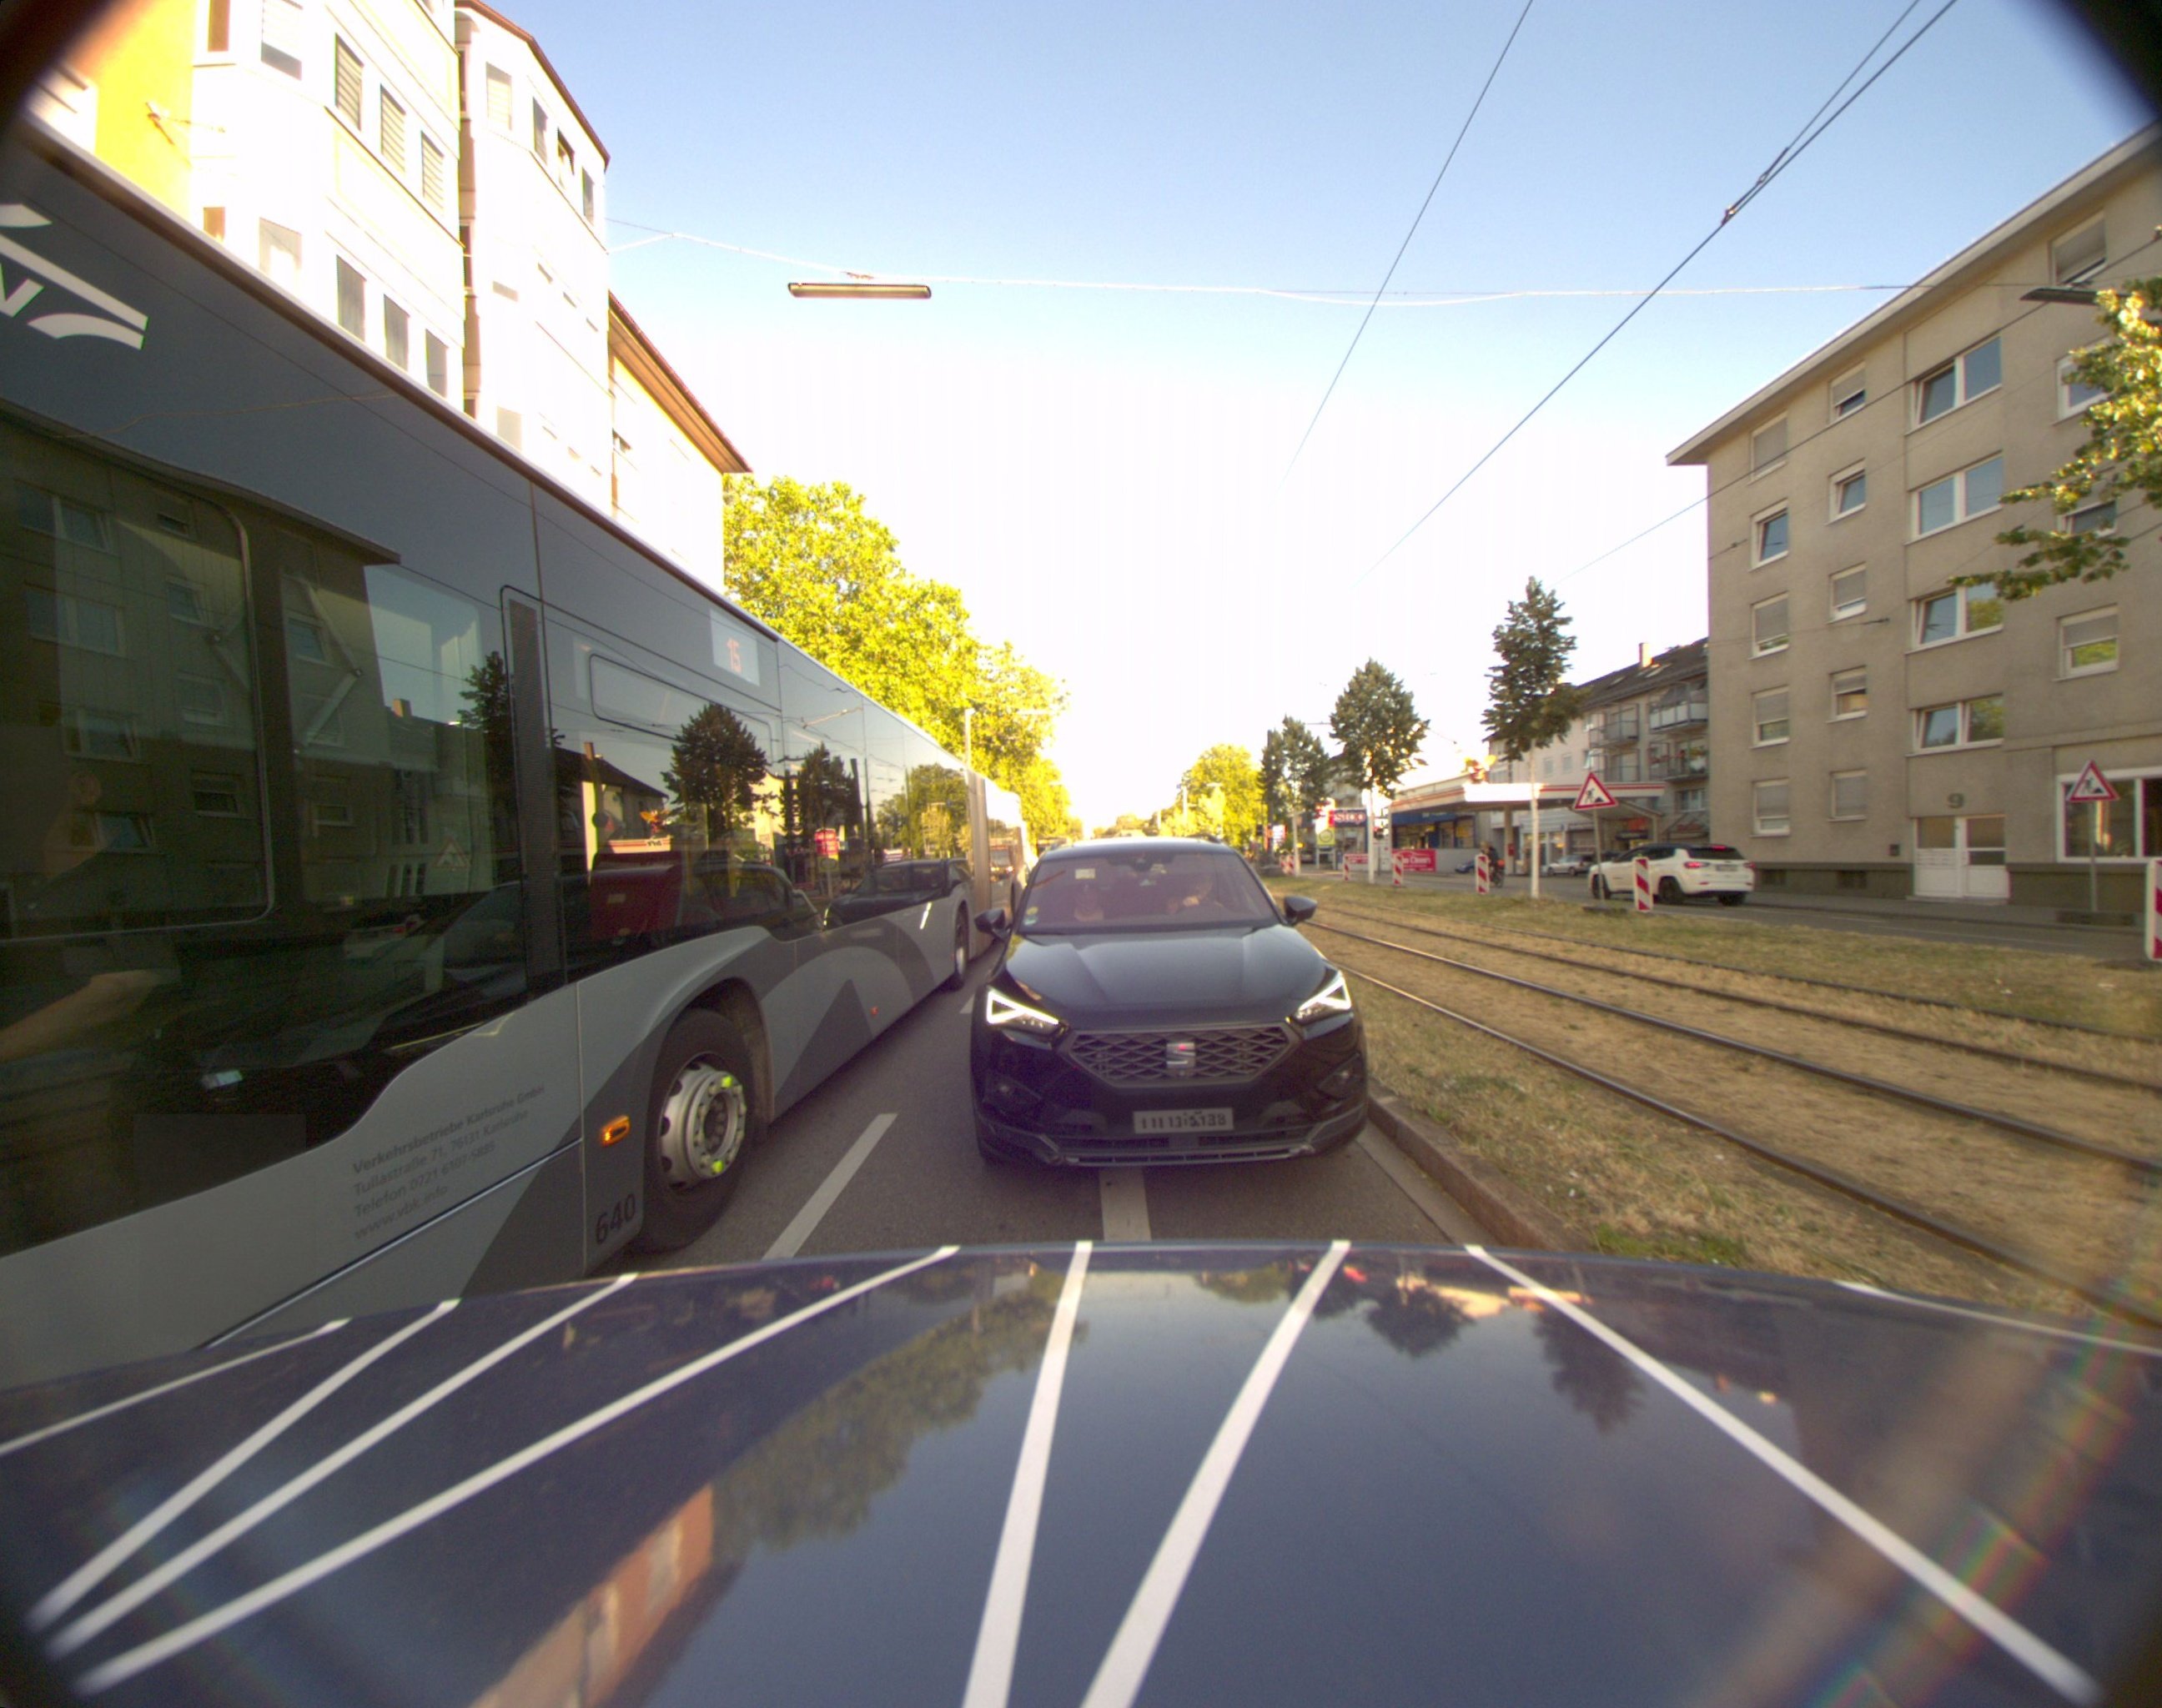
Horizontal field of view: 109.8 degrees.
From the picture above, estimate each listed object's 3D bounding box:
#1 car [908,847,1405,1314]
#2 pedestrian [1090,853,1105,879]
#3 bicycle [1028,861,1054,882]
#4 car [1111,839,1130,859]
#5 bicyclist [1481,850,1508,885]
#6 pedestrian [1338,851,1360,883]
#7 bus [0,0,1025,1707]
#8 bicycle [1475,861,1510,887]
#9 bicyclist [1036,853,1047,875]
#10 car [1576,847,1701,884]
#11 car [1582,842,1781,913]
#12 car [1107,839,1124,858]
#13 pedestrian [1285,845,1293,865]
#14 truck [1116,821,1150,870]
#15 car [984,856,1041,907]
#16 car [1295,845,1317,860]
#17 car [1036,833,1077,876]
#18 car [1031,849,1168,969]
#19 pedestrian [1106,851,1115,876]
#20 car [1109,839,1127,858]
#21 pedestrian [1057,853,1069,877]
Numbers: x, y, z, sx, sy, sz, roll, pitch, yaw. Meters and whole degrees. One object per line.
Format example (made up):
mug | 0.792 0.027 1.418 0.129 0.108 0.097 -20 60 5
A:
car | 0.306 0.837 4.809 1.774 1.667 4.000 -2 0 1
pedestrian | 1.035 0.737 47.451 0.700 1.552 0.508 -3 1 -35
bicycle | -2.394 1.034 45.592 1.474 1.213 0.525 -2 1 -17
car | 4.060 -0.530 78.518 1.767 2.002 3.791 -2 1 1
bicyclist | 17.456 0.569 32.094 0.780 1.438 0.650 0 1 -1
pedestrian | 11.007 0.541 31.207 0.664 1.263 0.581 -2 0 1
bus | -2.827 0.155 9.071 2.773 3.131 17.740 -2 0 1
bicycle | 17.448 0.823 32.265 0.447 1.038 1.860 0 0 -1
bicyclist | -2.389 0.580 45.549 0.500 1.303 0.499 -3 1 -17
car | 22.776 0.492 31.139 3.727 1.460 1.908 0 -1 0
car | 16.194 0.580 20.856 1.998 1.724 4.393 1 0 1
car | 3.987 -0.632 87.873 1.767 2.002 3.791 -2 1 1
pedestrian | 20.817 0.122 75.965 0.632 2.002 0.583 0 1 2
truck | 4.311 -0.697 64.390 2.306 3.798 7.723 -2 1 1
car | -2.426 0.944 27.710 1.750 1.598 3.823 -2 1 -1
car | 25.095 -0.224 84.813 1.781 1.547 4.002 -2 1 9
car | -1.720 0.024 55.705 2.681 2.875 5.452 -2 1 0
car | 0.299 0.800 13.126 1.998 1.739 4.000 0 0 1
pedestrian | 2.400 0.768 61.737 0.625 2.002 0.695 -2 0 0
car | 4.099 -0.588 83.551 1.767 2.002 3.791 -2 1 1
pedestrian | -1.109 0.672 46.926 0.618 1.482 0.438 -2 1 -13
